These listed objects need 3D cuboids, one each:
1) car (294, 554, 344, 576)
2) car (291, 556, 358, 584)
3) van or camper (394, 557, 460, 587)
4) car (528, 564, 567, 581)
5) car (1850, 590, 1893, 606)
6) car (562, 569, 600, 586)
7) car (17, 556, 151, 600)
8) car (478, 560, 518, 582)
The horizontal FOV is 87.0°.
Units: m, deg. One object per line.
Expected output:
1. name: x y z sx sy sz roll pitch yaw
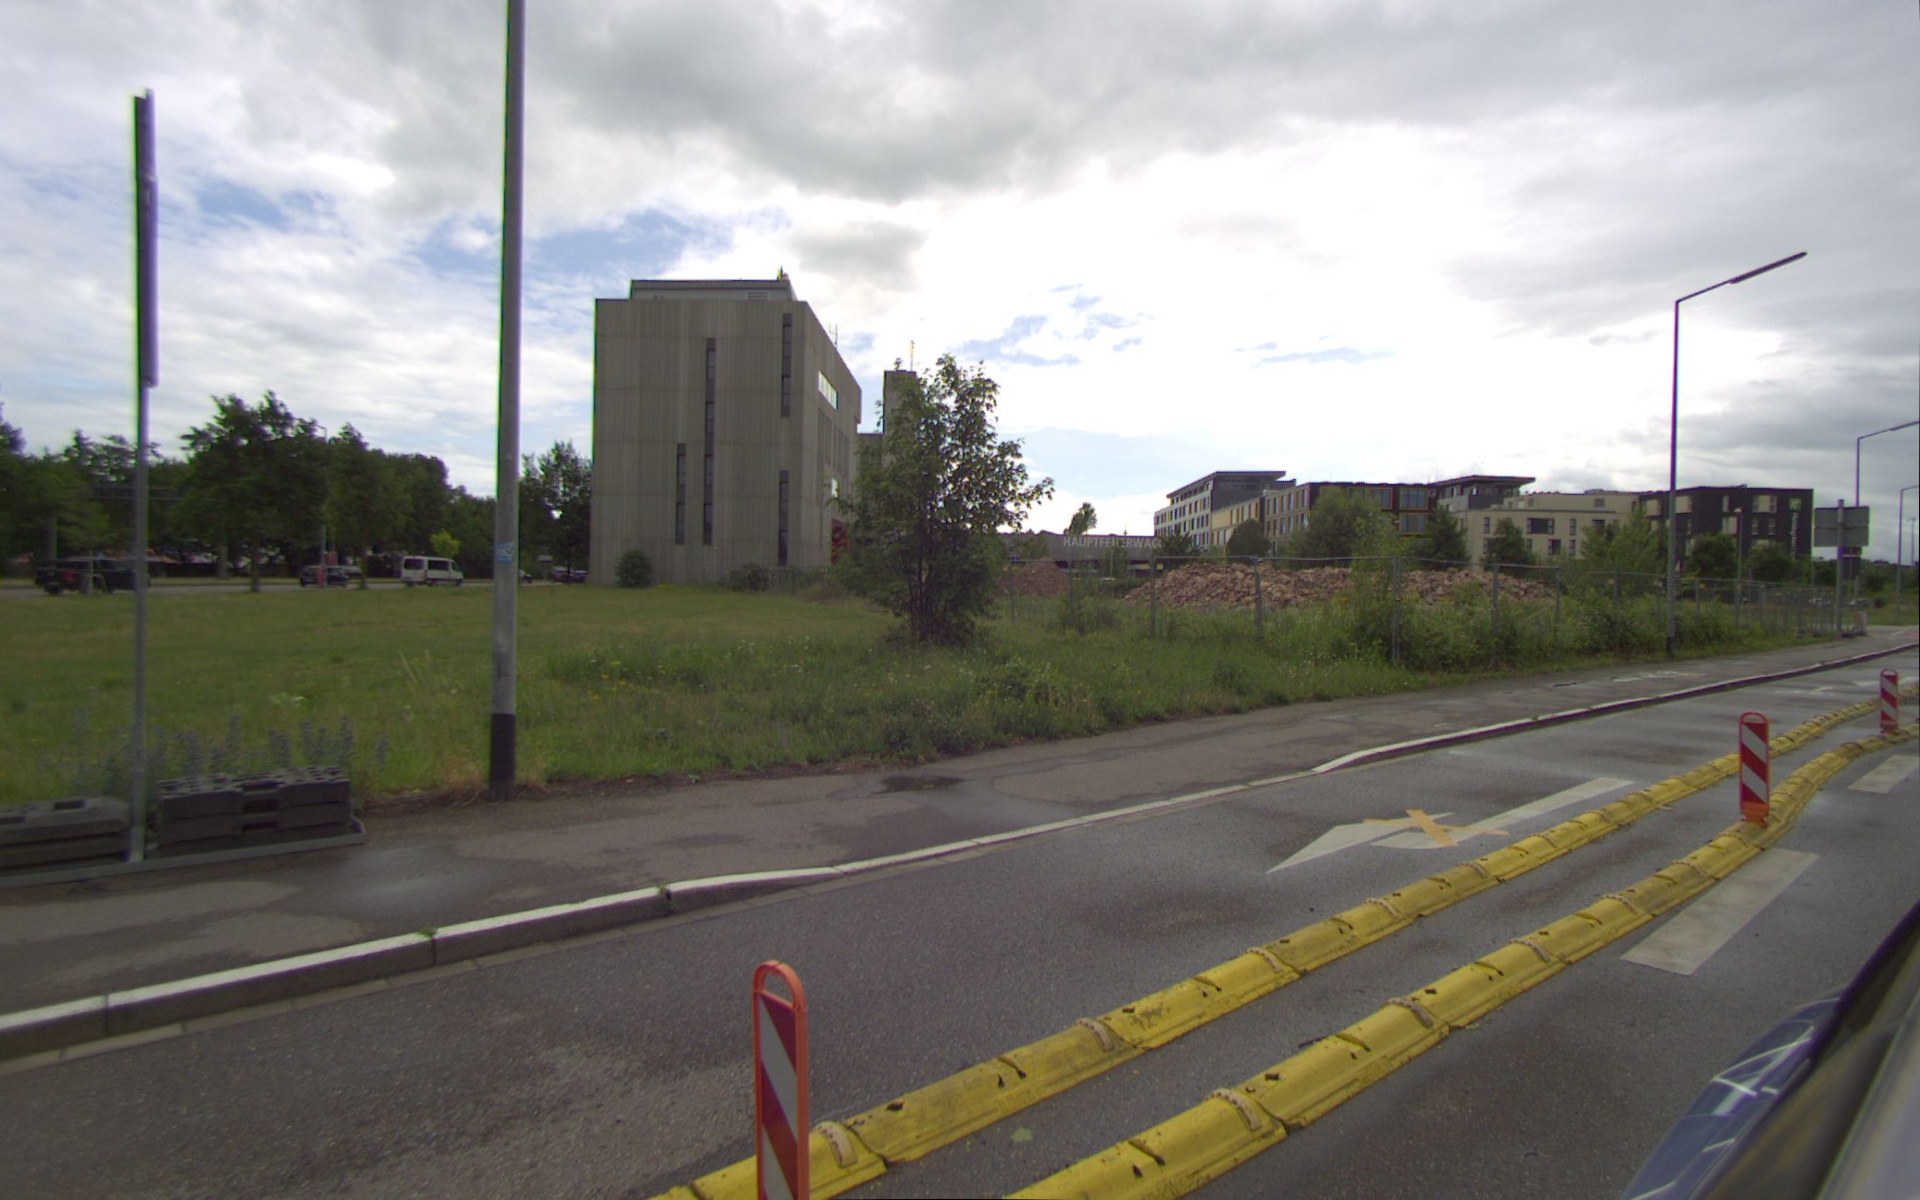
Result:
1. car: -59.419 -3.224 93.842 1.749 1.861 3.992 1 1 7
2. car: -44.206 -2.086 70.512 1.964 1.872 3.997 1 1 3
3. van or camper: -40.296 -2.126 76.724 1.963 2.142 5.551 1 1 1
4. car: -45.431 -3.043 111.562 2.079 1.817 4.601 1 1 6
5. car: 126.859 -0.264 140.868 3.925 2.039 2.000 1 1 1
6. car: -42.330 -2.520 113.188 2.079 1.817 4.601 1 1 6
7. car: -42.542 -1.085 49.335 2.182 1.996 5.042 1 1 0
8. car: -45.960 -2.877 100.736 1.963 2.039 3.998 1 1 2
